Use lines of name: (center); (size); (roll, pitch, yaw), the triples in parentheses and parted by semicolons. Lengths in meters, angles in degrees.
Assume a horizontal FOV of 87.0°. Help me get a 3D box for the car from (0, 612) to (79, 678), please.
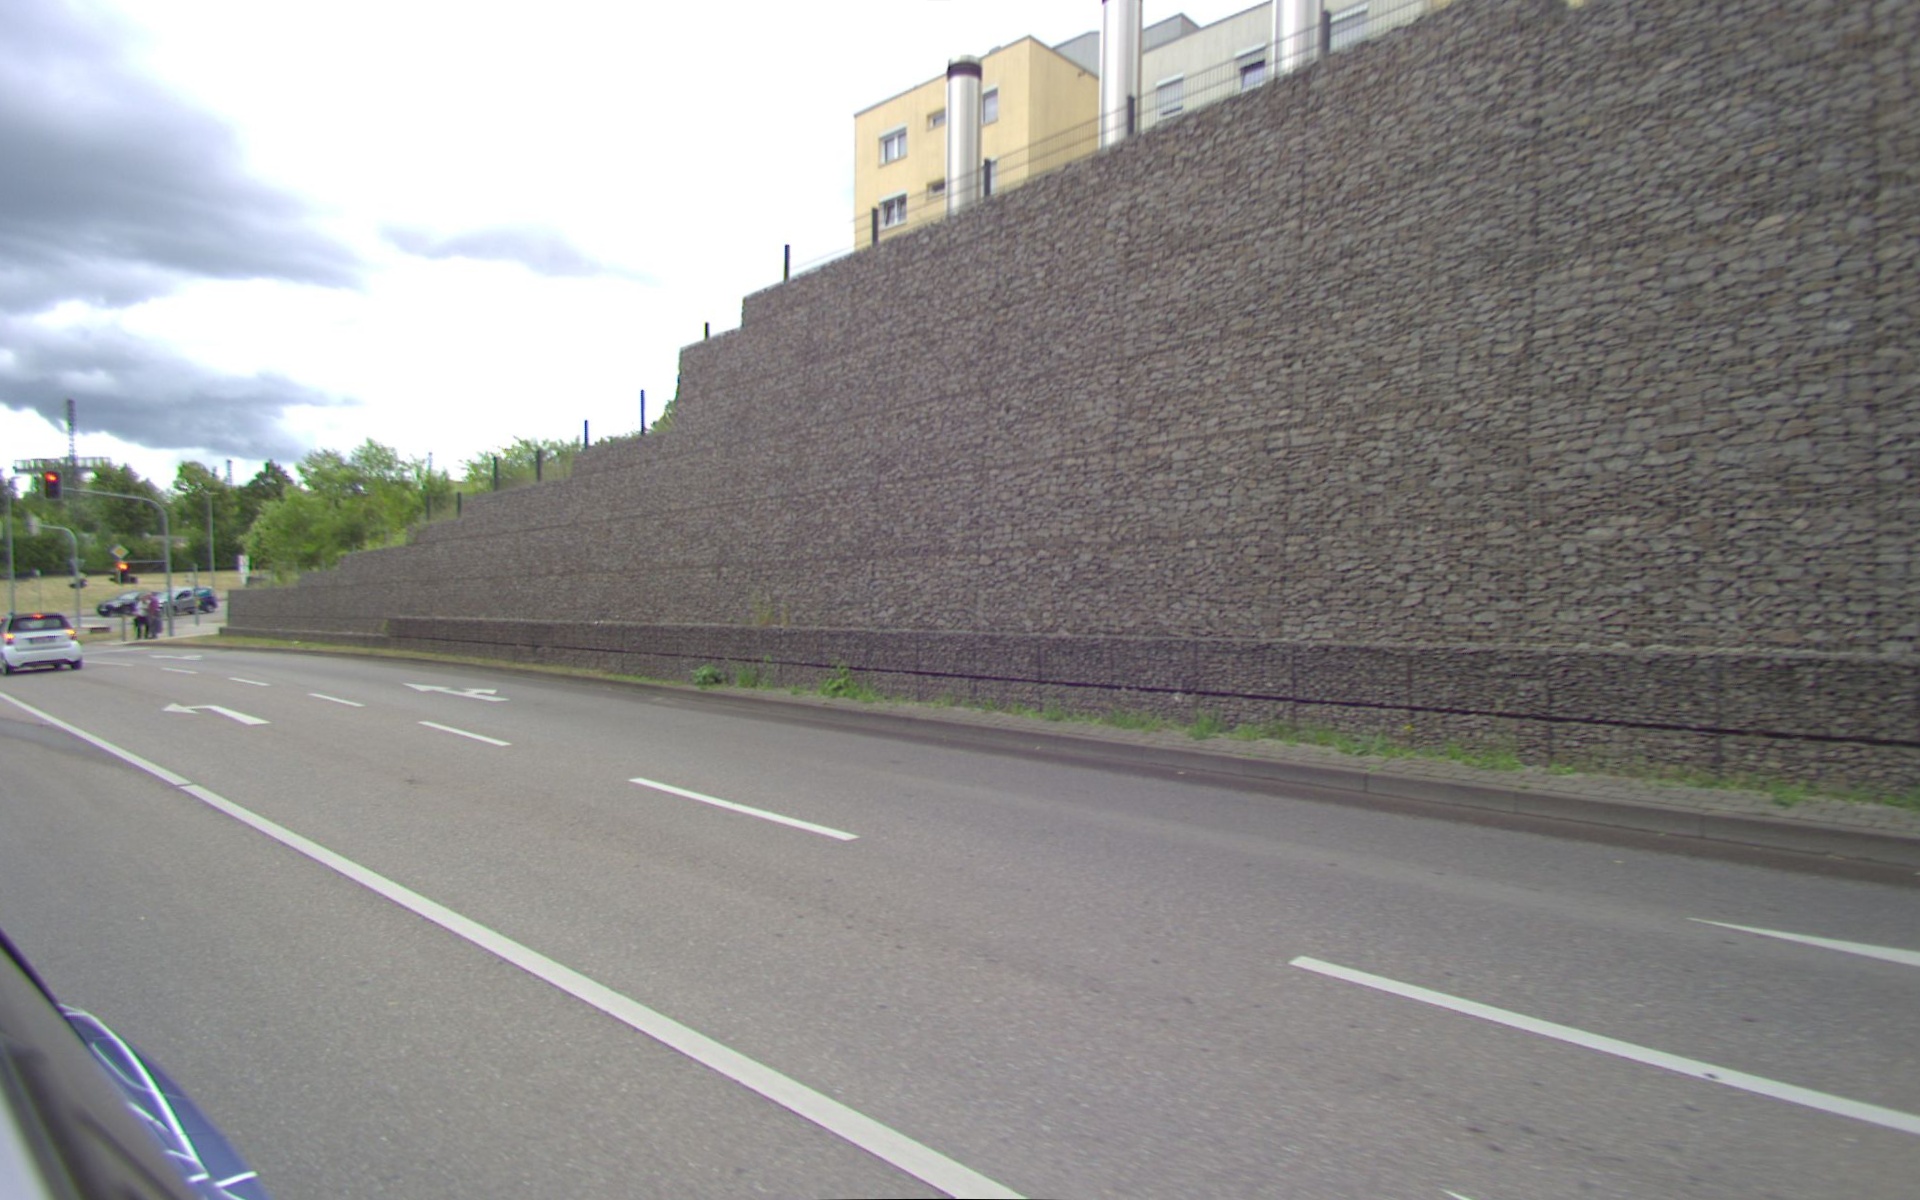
car: (-24.717, 1.159, 26.836); (2.911, 1.534, 1.528); (-1, 3, 40)

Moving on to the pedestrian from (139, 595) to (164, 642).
pedestrian: (-32.224, 0.731, 40.349); (0.666, 1.841, 0.615); (1, 4, 44)

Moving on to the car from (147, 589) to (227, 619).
car: (-52.141, 0.224, 68.396); (1.739, 1.741, 4.254); (-1, 3, 8)

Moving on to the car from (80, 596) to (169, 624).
car: (-56.446, 0.642, 68.470); (2.087, 1.562, 4.253); (-1, 3, 9)

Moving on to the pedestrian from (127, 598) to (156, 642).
pedestrian: (-32.901, 0.783, 40.692); (0.654, 1.691, 0.626); (-3, 3, -22)

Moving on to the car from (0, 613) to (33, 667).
car: (-29.787, 1.263, 30.673); (4.086, 1.534, 1.738); (-2, 2, 37)
